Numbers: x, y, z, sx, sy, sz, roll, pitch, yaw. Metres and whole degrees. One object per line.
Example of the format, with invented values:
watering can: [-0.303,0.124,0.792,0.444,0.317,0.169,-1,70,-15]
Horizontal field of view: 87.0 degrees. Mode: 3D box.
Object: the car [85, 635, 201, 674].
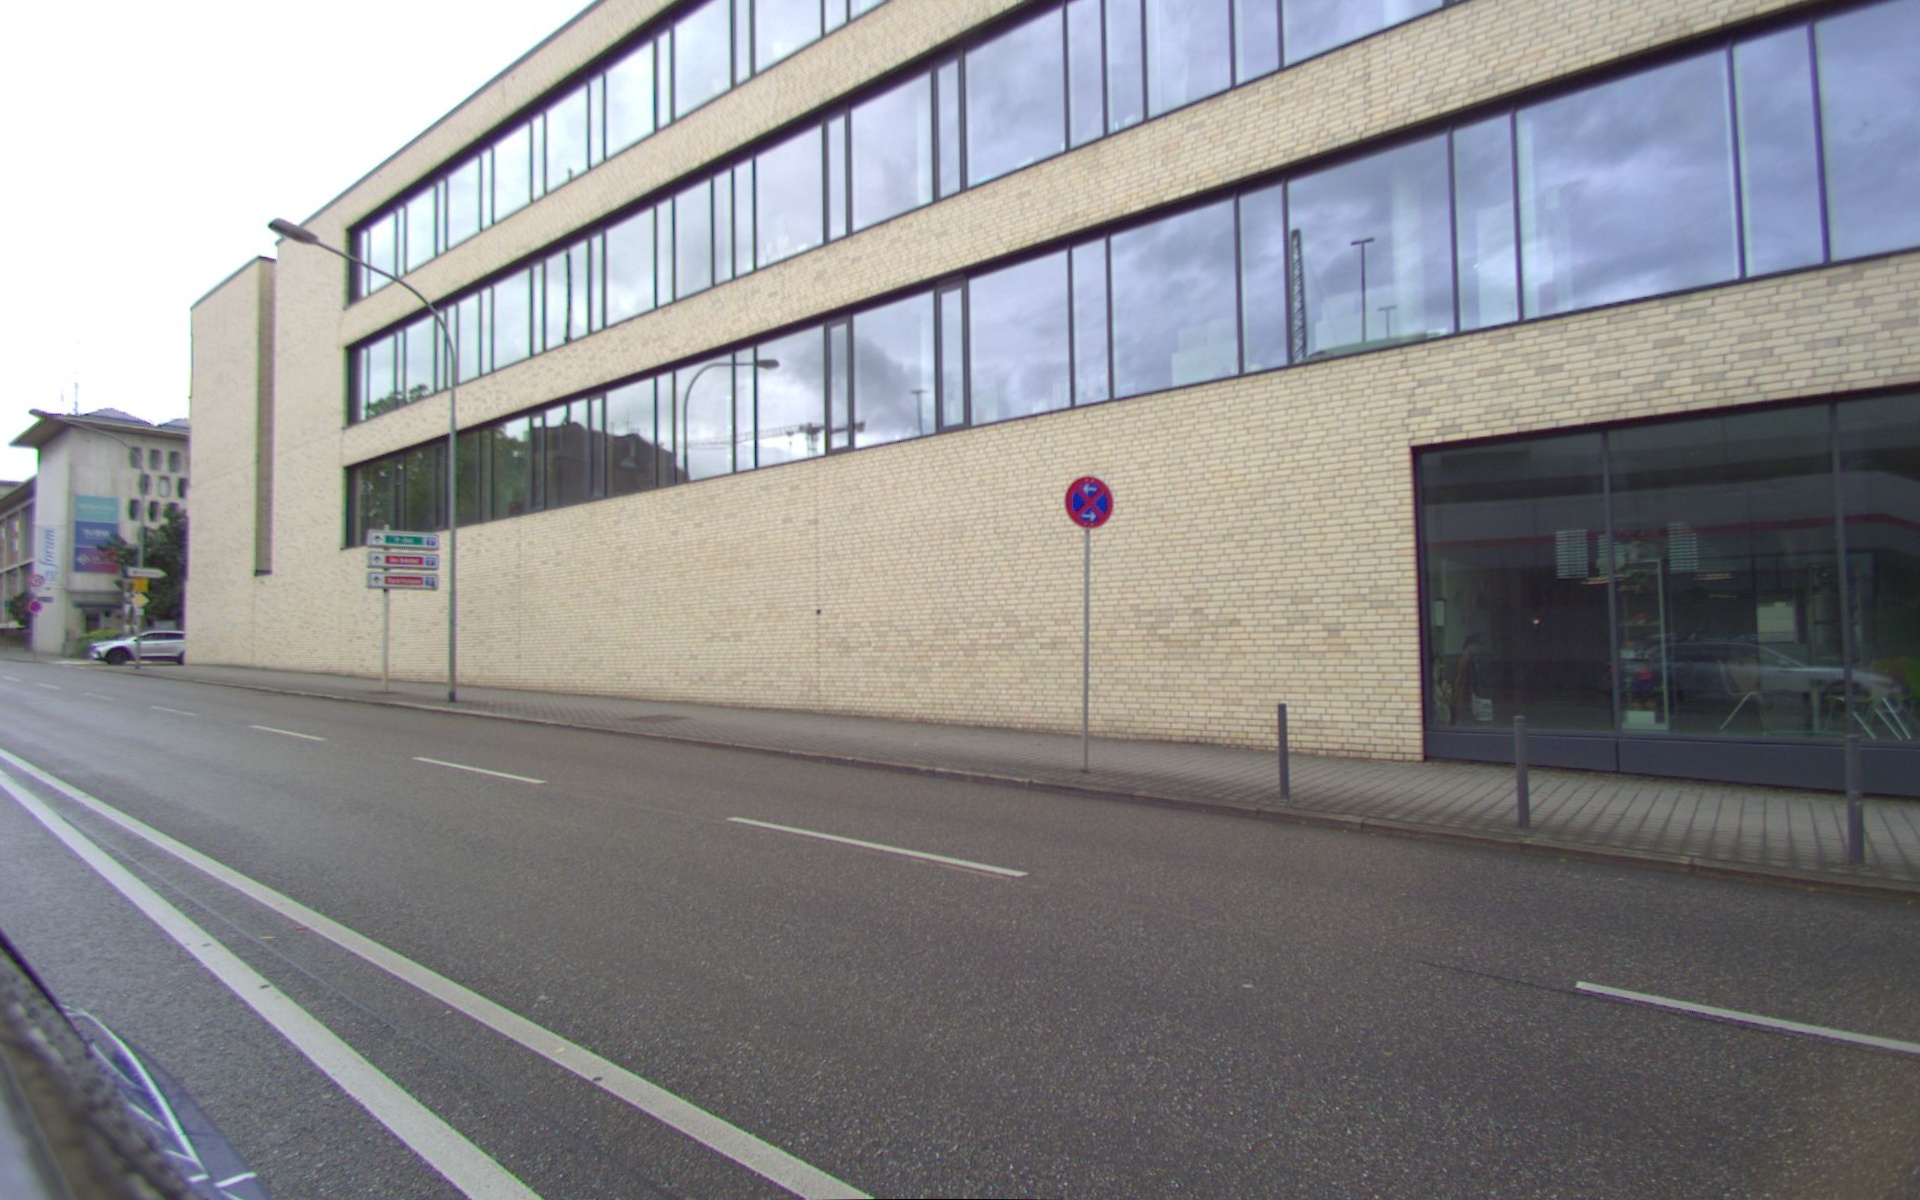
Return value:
car: [-37.468,2.477,46.476,1.803,1.537,3.996,-3,-1,45]
